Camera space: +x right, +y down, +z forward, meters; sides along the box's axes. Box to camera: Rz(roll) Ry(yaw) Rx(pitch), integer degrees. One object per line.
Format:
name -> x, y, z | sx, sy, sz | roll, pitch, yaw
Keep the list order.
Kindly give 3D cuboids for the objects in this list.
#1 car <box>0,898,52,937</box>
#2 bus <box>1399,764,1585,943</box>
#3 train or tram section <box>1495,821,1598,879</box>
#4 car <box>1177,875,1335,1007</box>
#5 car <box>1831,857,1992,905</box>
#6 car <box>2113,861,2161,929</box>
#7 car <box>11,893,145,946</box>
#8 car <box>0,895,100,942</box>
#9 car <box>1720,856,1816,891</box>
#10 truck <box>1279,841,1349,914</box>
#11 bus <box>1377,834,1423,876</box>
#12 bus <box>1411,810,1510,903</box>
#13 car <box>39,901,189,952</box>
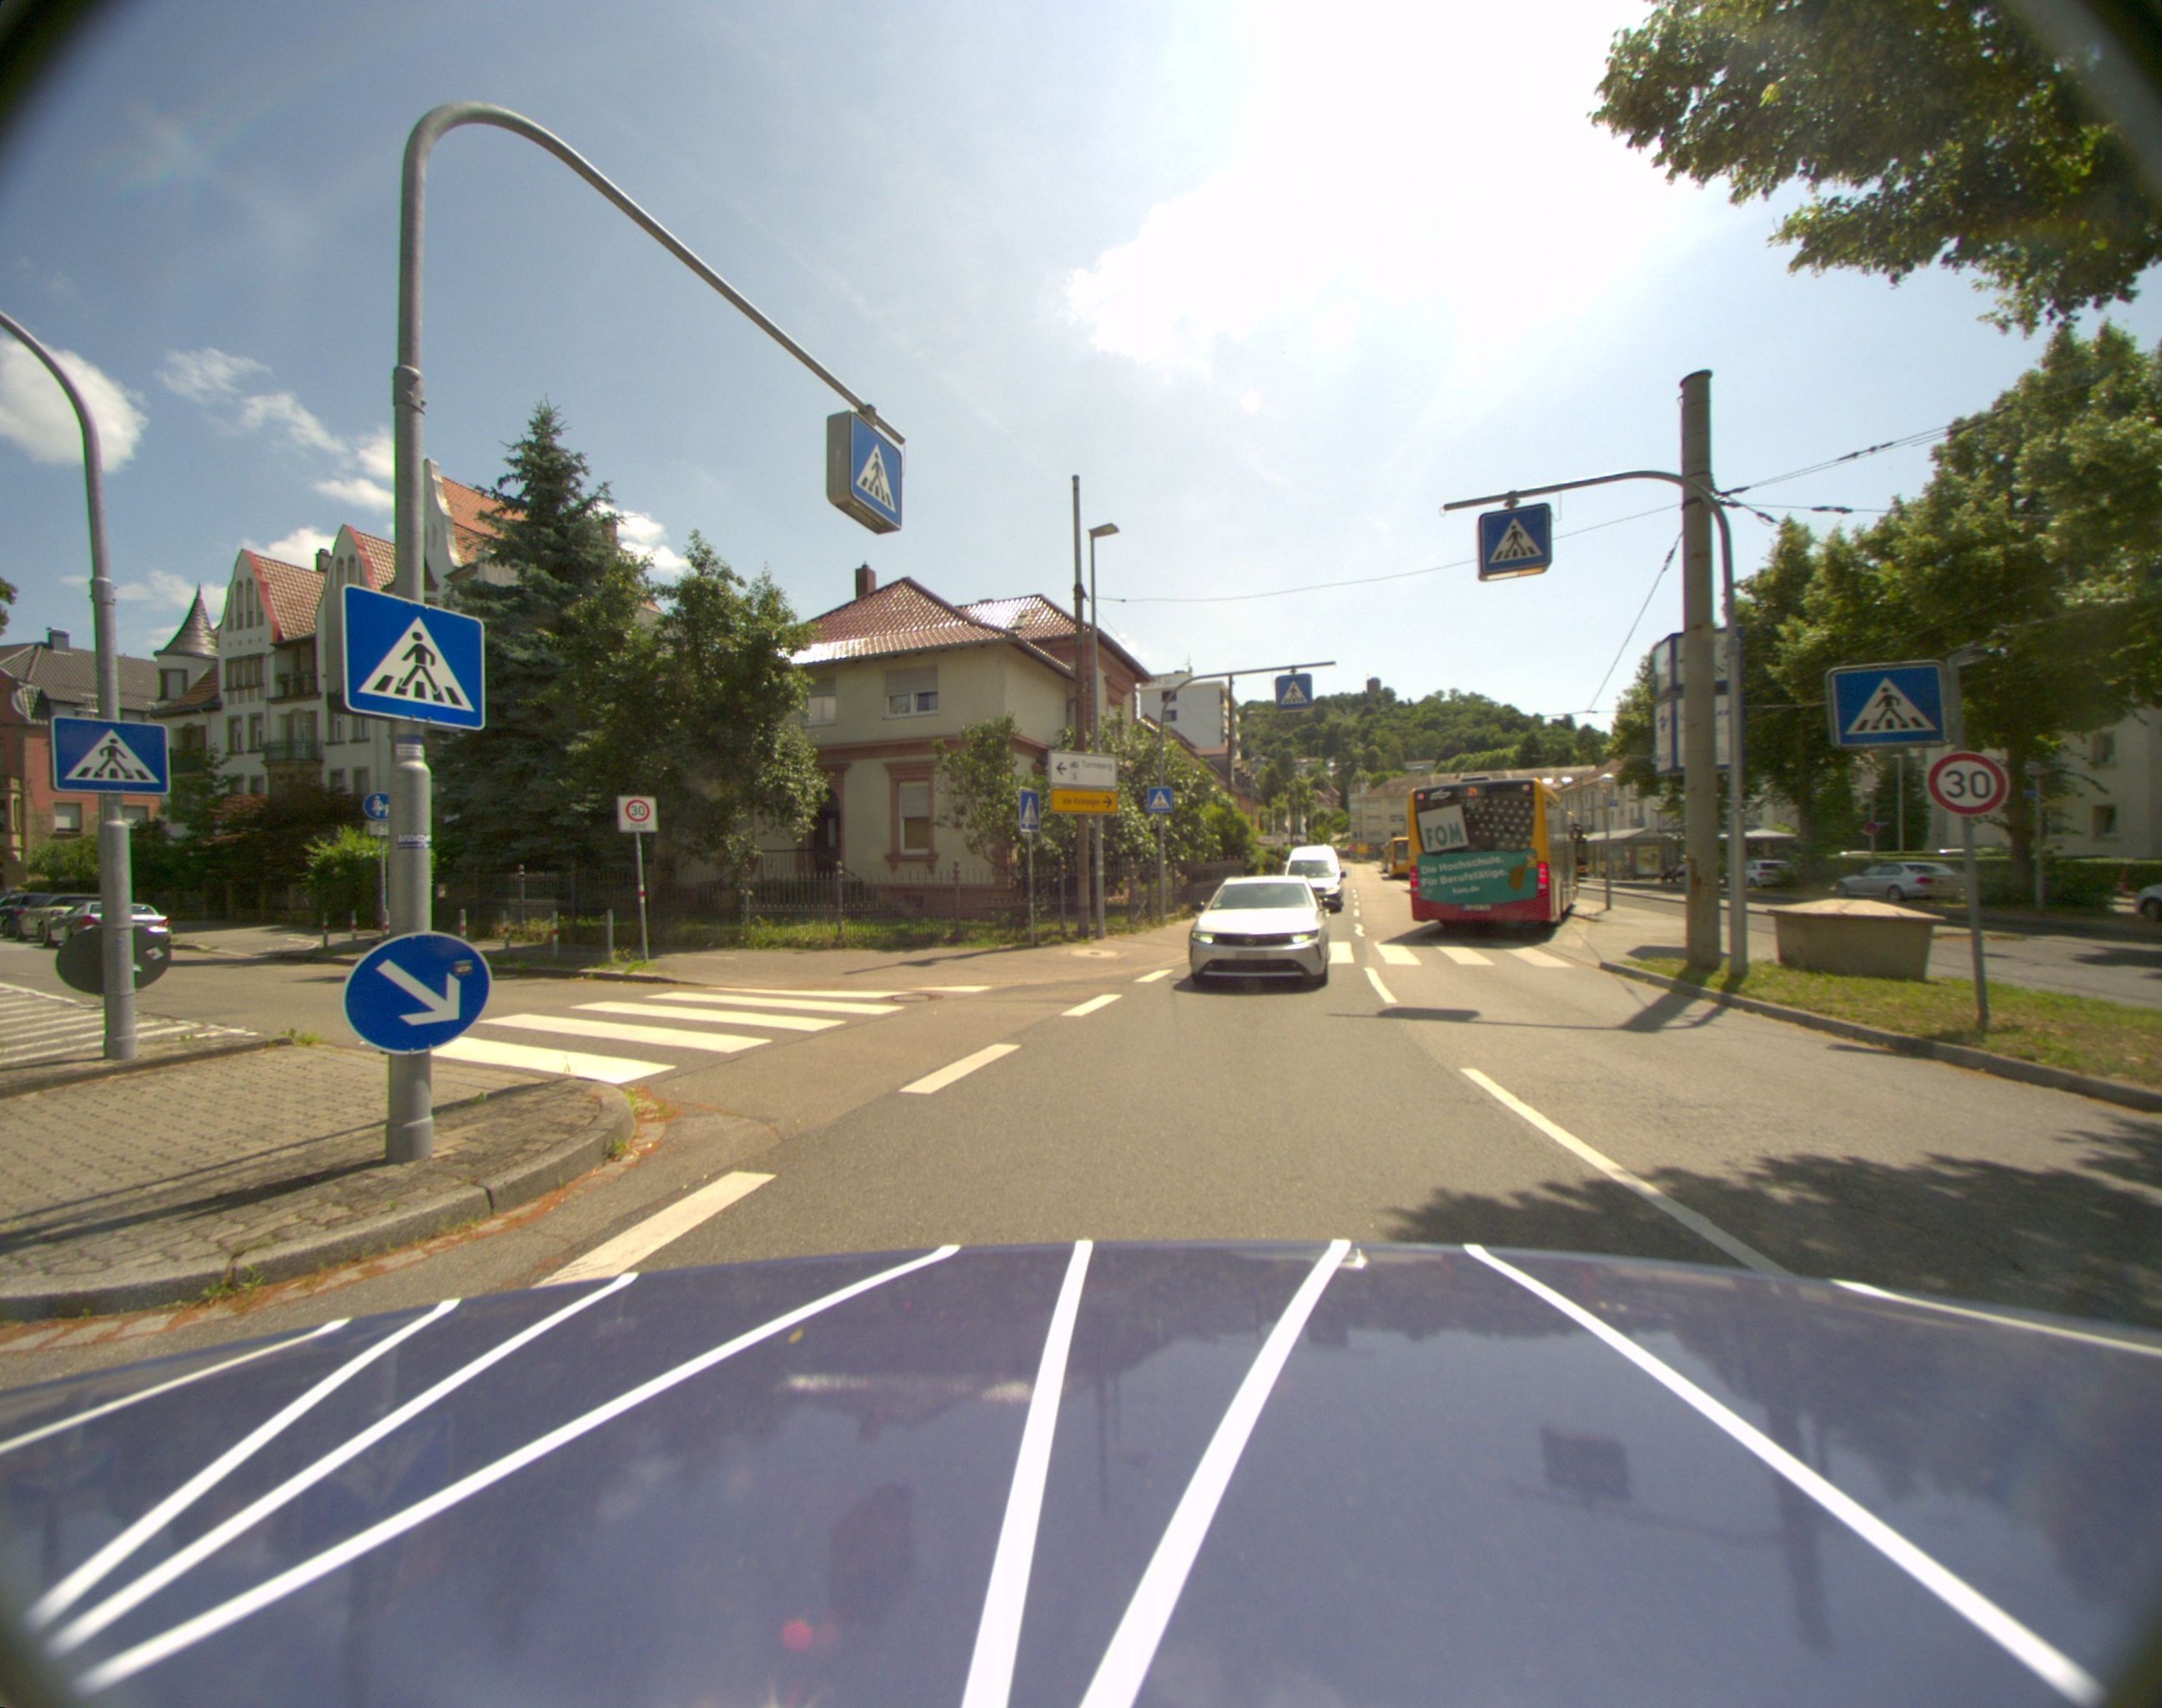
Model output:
car -> -40.794, 2.338, 28.422 | 3.990, 1.379, 1.779 | -1, -5, 23
bus -> 10.775, 0.024, 19.101 | 2.701, 3.277, 10.881 | -2, -1, 36
train or tram section -> 32.655, -0.295, 54.104 | 2.893, 3.500, 13.920 | -2, 0, 17
car -> 2.745, 1.097, 11.162 | 1.798, 1.457, 4.177 | -2, -1, 19
car -> 28.308, 0.858, 26.113 | 1.841, 1.473, 4.264 | -1, 0, 18
car -> 24.690, 0.914, 15.804 | 1.841, 1.473, 3.961 | -1, 0, 18
car -> -31.329, 2.014, 23.723 | 3.990, 1.505, 1.779 | -1, -5, 28
car -> -35.855, 2.180, 26.051 | 3.990, 1.505, 1.779 | -1, -5, 25
car -> 31.531, 0.850, 35.011 | 1.841, 1.473, 3.878 | -1, 0, 18
truck -> 8.145, 0.761, 26.326 | 2.017, 2.235, 5.416 | -2, -1, 19
bus -> 26.222, 0.128, 62.890 | 2.571, 3.170, 10.169 | -1, 0, 17
bus -> 17.386, 0.138, 35.627 | 2.691, 3.586, 12.226 | -1, 0, 20
car -> -26.957, 1.974, 21.177 | 3.990, 1.318, 1.823 | -2, -4, 28
